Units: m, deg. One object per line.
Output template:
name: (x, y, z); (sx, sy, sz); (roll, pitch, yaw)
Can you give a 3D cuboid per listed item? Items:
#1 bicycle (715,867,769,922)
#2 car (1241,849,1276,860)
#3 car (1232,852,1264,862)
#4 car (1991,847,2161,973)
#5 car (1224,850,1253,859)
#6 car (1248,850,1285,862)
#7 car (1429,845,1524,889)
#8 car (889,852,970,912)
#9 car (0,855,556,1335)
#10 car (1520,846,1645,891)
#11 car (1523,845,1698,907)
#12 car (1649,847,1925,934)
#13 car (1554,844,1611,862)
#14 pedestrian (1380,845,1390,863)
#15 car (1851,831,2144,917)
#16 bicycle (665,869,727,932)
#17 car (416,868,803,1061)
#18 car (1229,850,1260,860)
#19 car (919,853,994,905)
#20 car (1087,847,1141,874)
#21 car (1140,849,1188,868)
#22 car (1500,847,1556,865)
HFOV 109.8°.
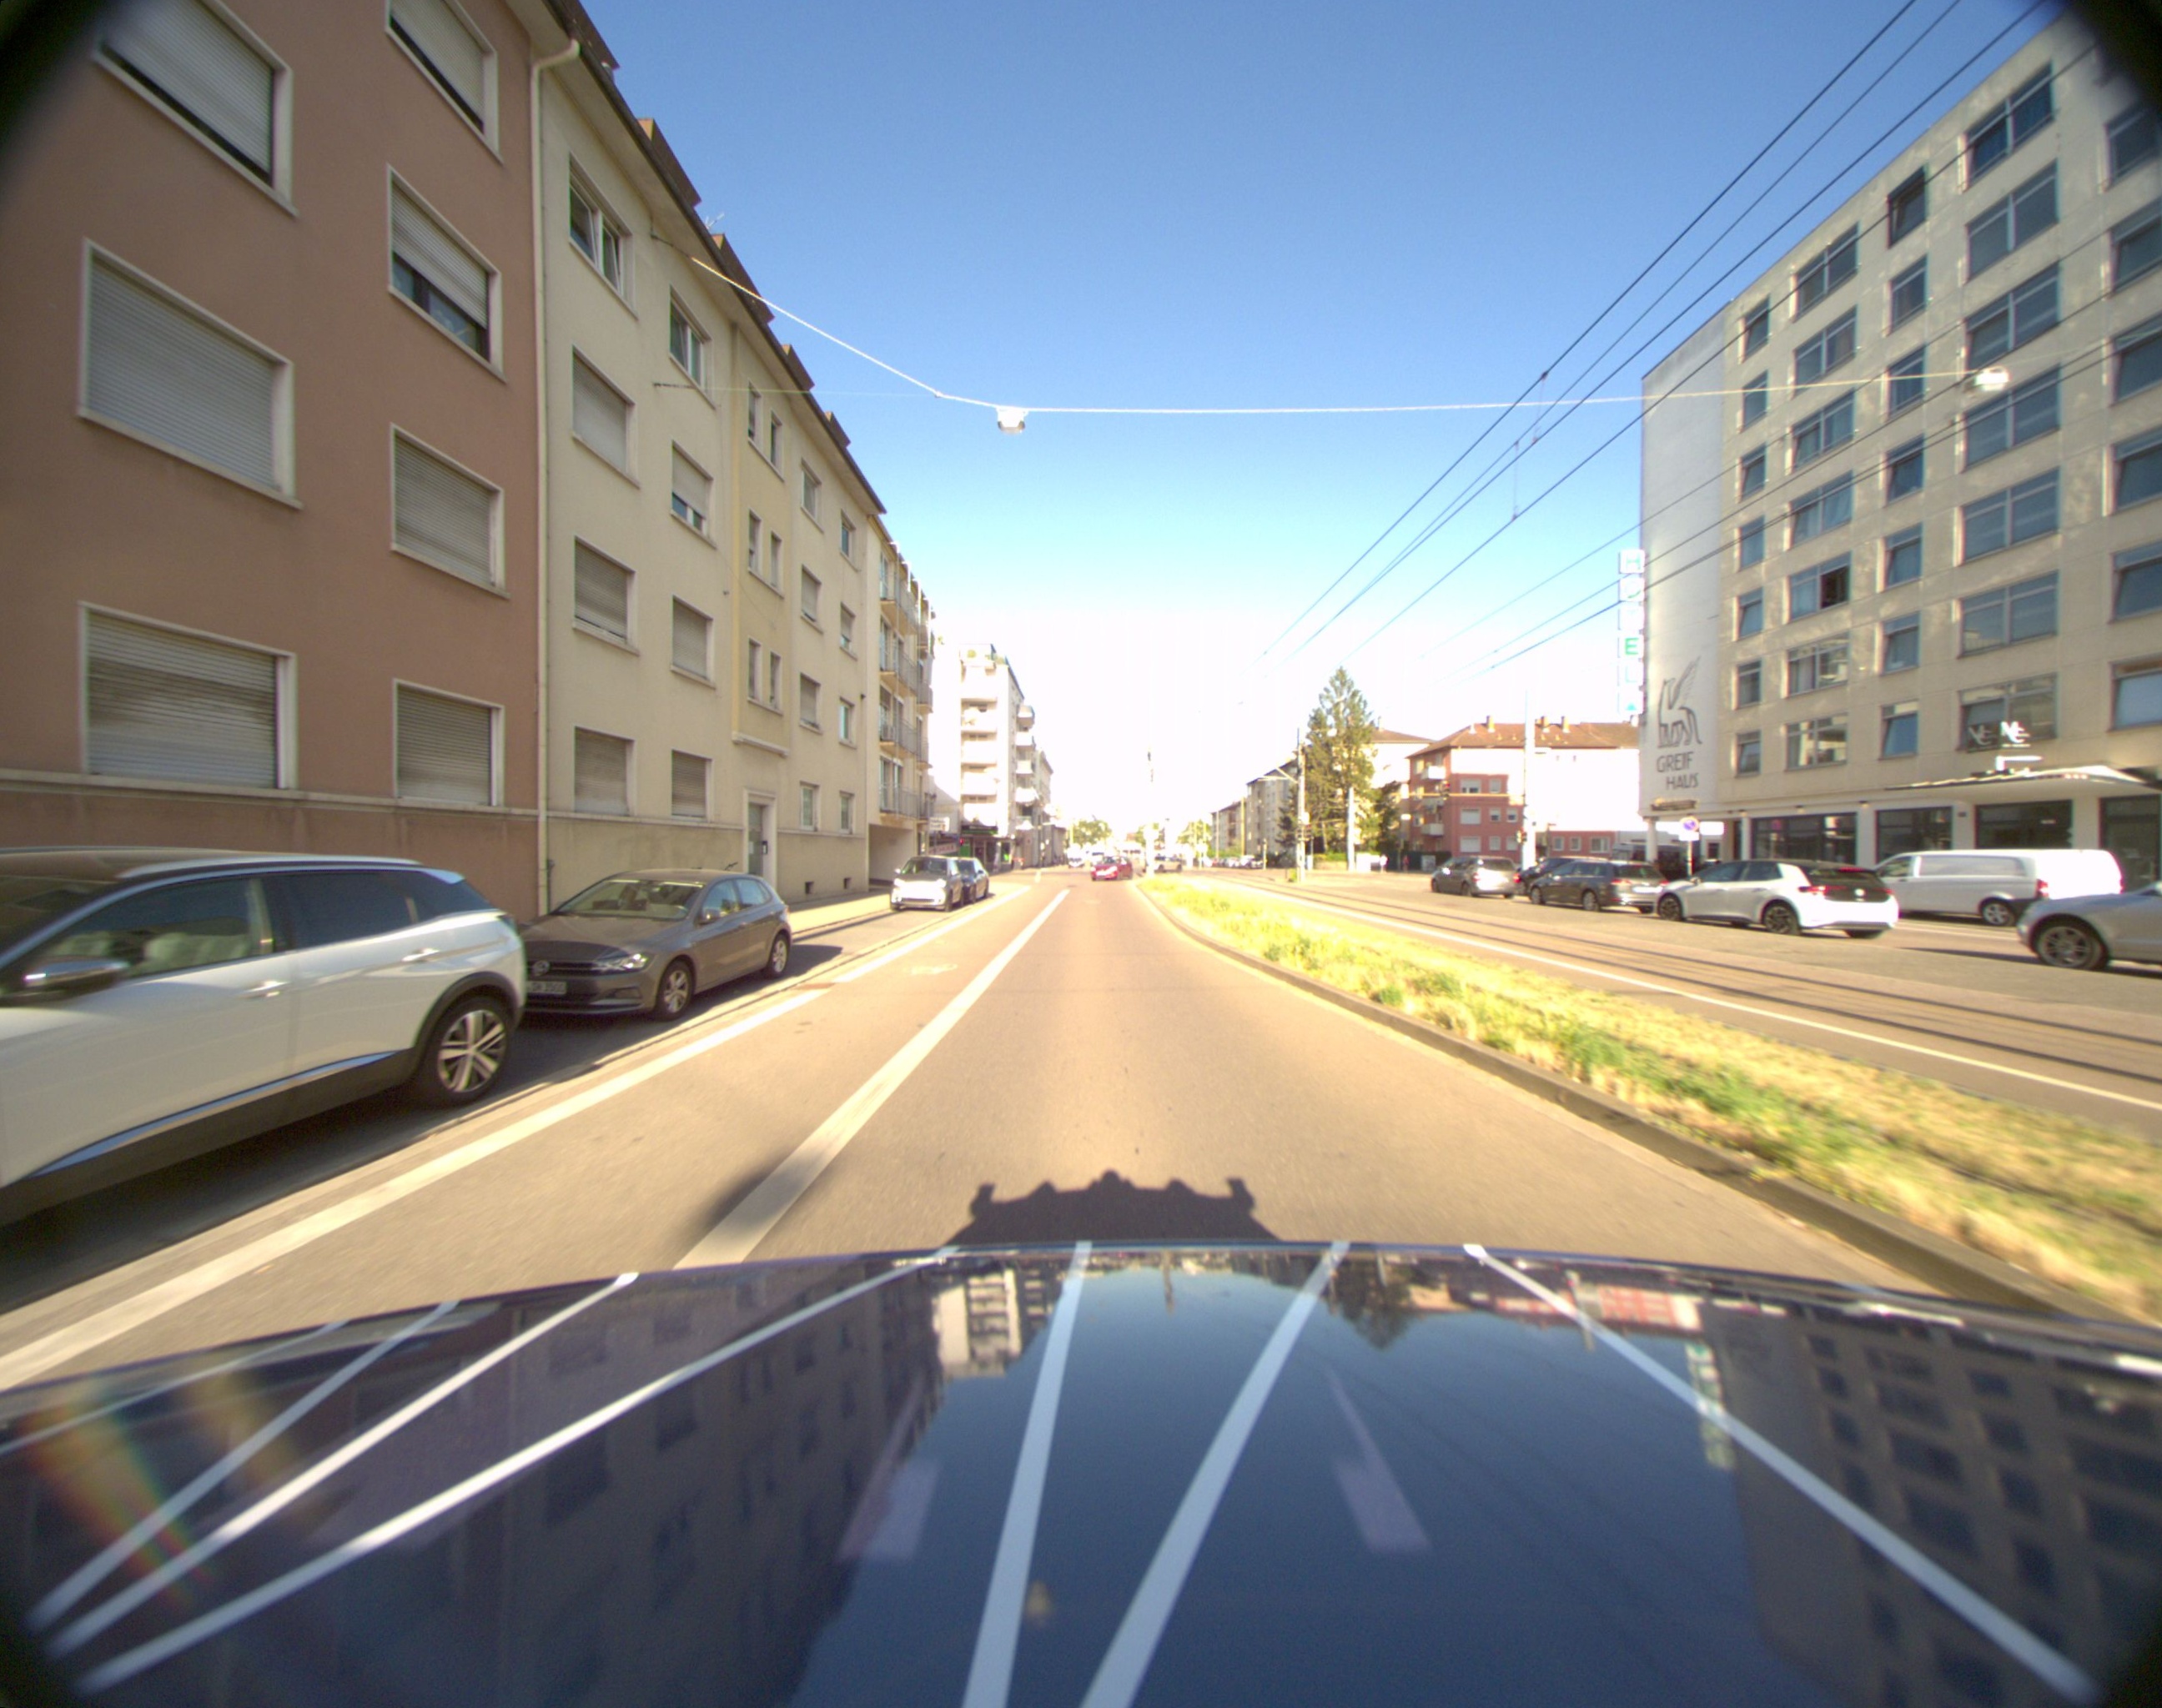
bicycle: (-7.803, 0.904, 17.561); (0.325, 1.167, 1.764); (-2, 1, 3)
car: (22.659, 0.096, 97.110); (3.997, 1.324, 1.738); (0, 0, 1)
car: (22.563, 0.415, 102.607); (3.997, 1.324, 1.738); (0, 0, 1)
car: (14.349, 0.712, 8.943); (1.787, 1.572, 4.608); (1, 0, 1)
car: (23.038, 0.100, 111.299); (3.997, 1.324, 1.738); (0, 0, 1)
car: (22.349, 0.214, 91.473); (3.997, 1.324, 1.738); (0, 0, 1)
car: (15.108, 0.453, 29.260); (1.617, 1.550, 4.000); (2, 0, 1)
car: (-4.275, 0.756, 21.817); (1.762, 1.543, 2.649); (1, 1, 0)
car: (-4.901, 0.908, 3.491); (1.806, 1.687, 4.490); (3, 0, 0)
car: (18.552, 0.487, 28.356); (1.999, 1.550, 3.999); (0, 0, 0)
car: (15.186, 0.561, 22.168); (1.999, 1.541, 4.366); (2, 0, 0)
car: (14.661, 0.664, 16.184); (1.861, 1.541, 4.240); (2, 0, 0)
car: (45.324, -0.127, 68.718); (3.898, 1.434, 1.787); (-3, 1, 1)
pedestrian: (27.532, 0.018, 68.778); (0.615, 1.597, 0.510); (-3, 1, 0)
car: (23.501, 0.448, 19.851); (1.999, 1.887, 4.669); (-2, 1, 0)
bicycle: (-7.871, 0.917, 15.615); (0.325, 1.167, 1.763); (-3, 1, 0)
car: (-4.814, 0.990, 8.612); (1.750, 1.470, 4.153); (3, 0, 0)
car: (22.991, 0.103, 107.077); (3.997, 1.324, 1.738); (0, 0, 1)
car: (-4.119, 0.767, 25.816); (1.822, 1.543, 4.175); (2, 0, 0)
car: (1.955, 0.340, 43.548); (1.859, 1.461, 3.815); (1, 1, 22)
car: (6.815, 0.365, 62.359); (3.720, 1.379, 1.718); (-3, 1, -39)
car: (40.489, 0.154, 68.843); (3.996, 1.434, 1.748); (-3, 1, 1)
